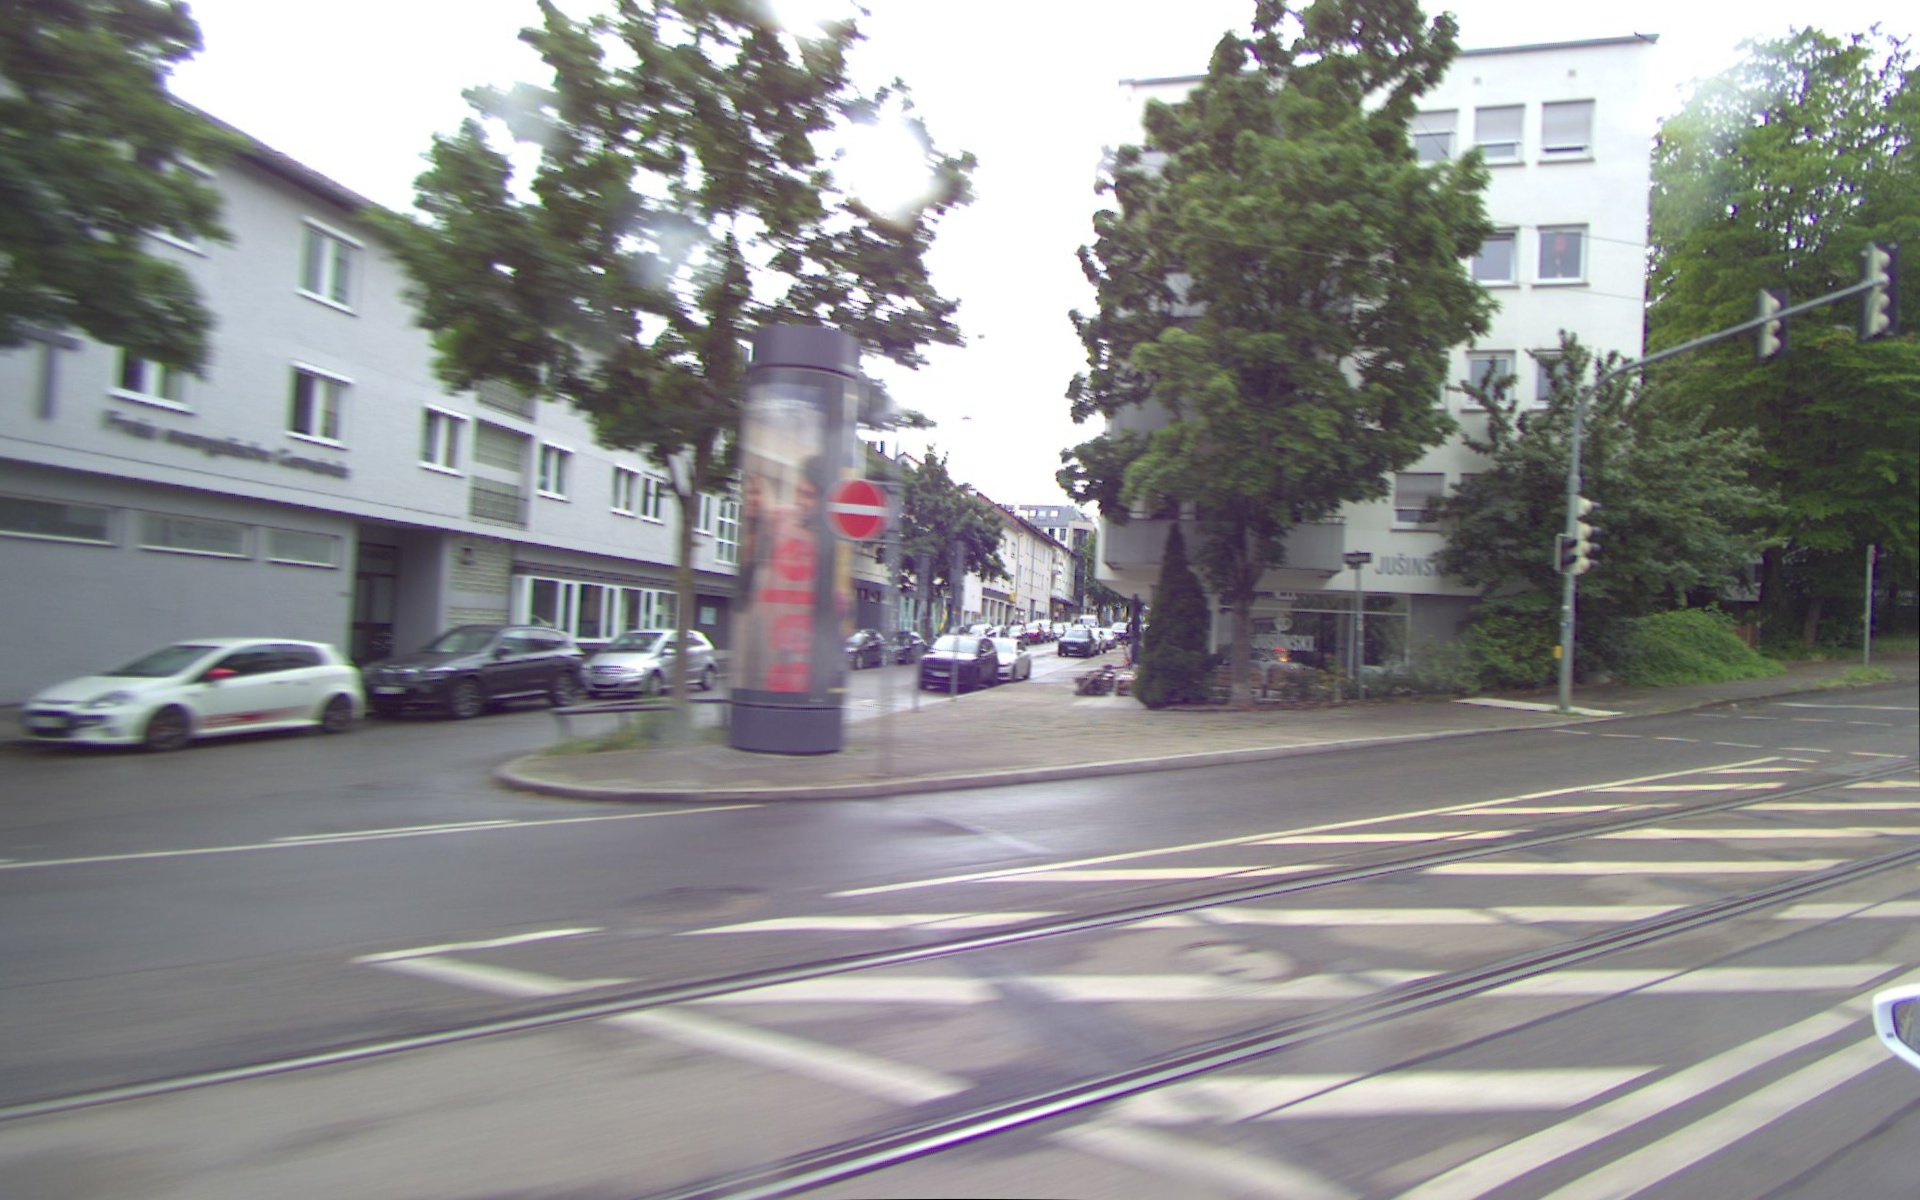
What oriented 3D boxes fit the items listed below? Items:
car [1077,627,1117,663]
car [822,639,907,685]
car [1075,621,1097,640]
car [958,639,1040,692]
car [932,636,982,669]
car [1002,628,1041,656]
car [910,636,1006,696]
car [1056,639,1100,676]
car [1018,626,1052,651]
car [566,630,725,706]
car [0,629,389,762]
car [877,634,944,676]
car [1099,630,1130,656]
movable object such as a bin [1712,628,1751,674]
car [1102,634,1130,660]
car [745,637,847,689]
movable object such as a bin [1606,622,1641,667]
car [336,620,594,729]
[{"bbox_3d":[8.582,2.806,62.663,1.960,2.040,4.003,4,-2,13],"label":"car"},{"bbox_3d":[-3.646,2.403,39.228,1.854,1.550,4.002,3,-2,17],"label":"car"},{"bbox_3d":[14.557,3.547,115.994,1.960,2.040,4.003,4,-2,13],"label":"car"},{"bbox_3d":[1.453,2.266,35.576,1.960,1.616,4.677,4,-2,13],"label":"car"},{"bbox_3d":[-0.107,2.950,56.867,1.805,1.663,4.205,3,-2,13],"label":"car"},{"bbox_3d":[4.368,2.943,70.628,1.960,1.743,4.003,4,-2,13],"label":"car"},{"bbox_3d":[0.030,1.964,30.499,1.960,1.538,4.003,4,-2,13],"label":"car"},{"bbox_3d":[6.788,3.257,57.573,1.960,1.884,4.003,4,-2,13],"label":"car"},{"bbox_3d":[5.650,2.917,75.528,1.805,1.663,4.205,3,-2,13],"label":"car"},{"bbox_3d":[-7.665,1.636,24.931,1.805,1.599,4.177,3,-2,13],"label":"car"},{"bbox_3d":[-10.644,1.247,14.264,1.960,1.500,4.163,2,-2,16],"label":"car"},{"bbox_3d":[-2.164,2.442,44.865,1.805,1.663,4.205,3,-2,13],"label":"car"},{"bbox_3d":[11.888,3.295,76.952,1.960,1.839,4.003,4,-2,13],"label":"car"},{"bbox_3d":[21.890,1.445,28.523,0.654,1.249,0.627,3,-1,18],"label":"movable object such as a bin"},{"bbox_3d":[13.489,4.026,86.828,1.960,2.040,4.003,4,-2,13],"label":"car"},{"bbox_3d":[-5.415,2.068,33.732,1.805,1.513,4.205,3,-2,13],"label":"car"},{"bbox_3d":[19.327,1.287,29.268,0.654,1.249,0.627,3,-1,18],"label":"movable object such as a bin"},{"bbox_3d":[-9.228,1.355,19.265,1.805,1.728,4.644,3,-2,13],"label":"car"}]
